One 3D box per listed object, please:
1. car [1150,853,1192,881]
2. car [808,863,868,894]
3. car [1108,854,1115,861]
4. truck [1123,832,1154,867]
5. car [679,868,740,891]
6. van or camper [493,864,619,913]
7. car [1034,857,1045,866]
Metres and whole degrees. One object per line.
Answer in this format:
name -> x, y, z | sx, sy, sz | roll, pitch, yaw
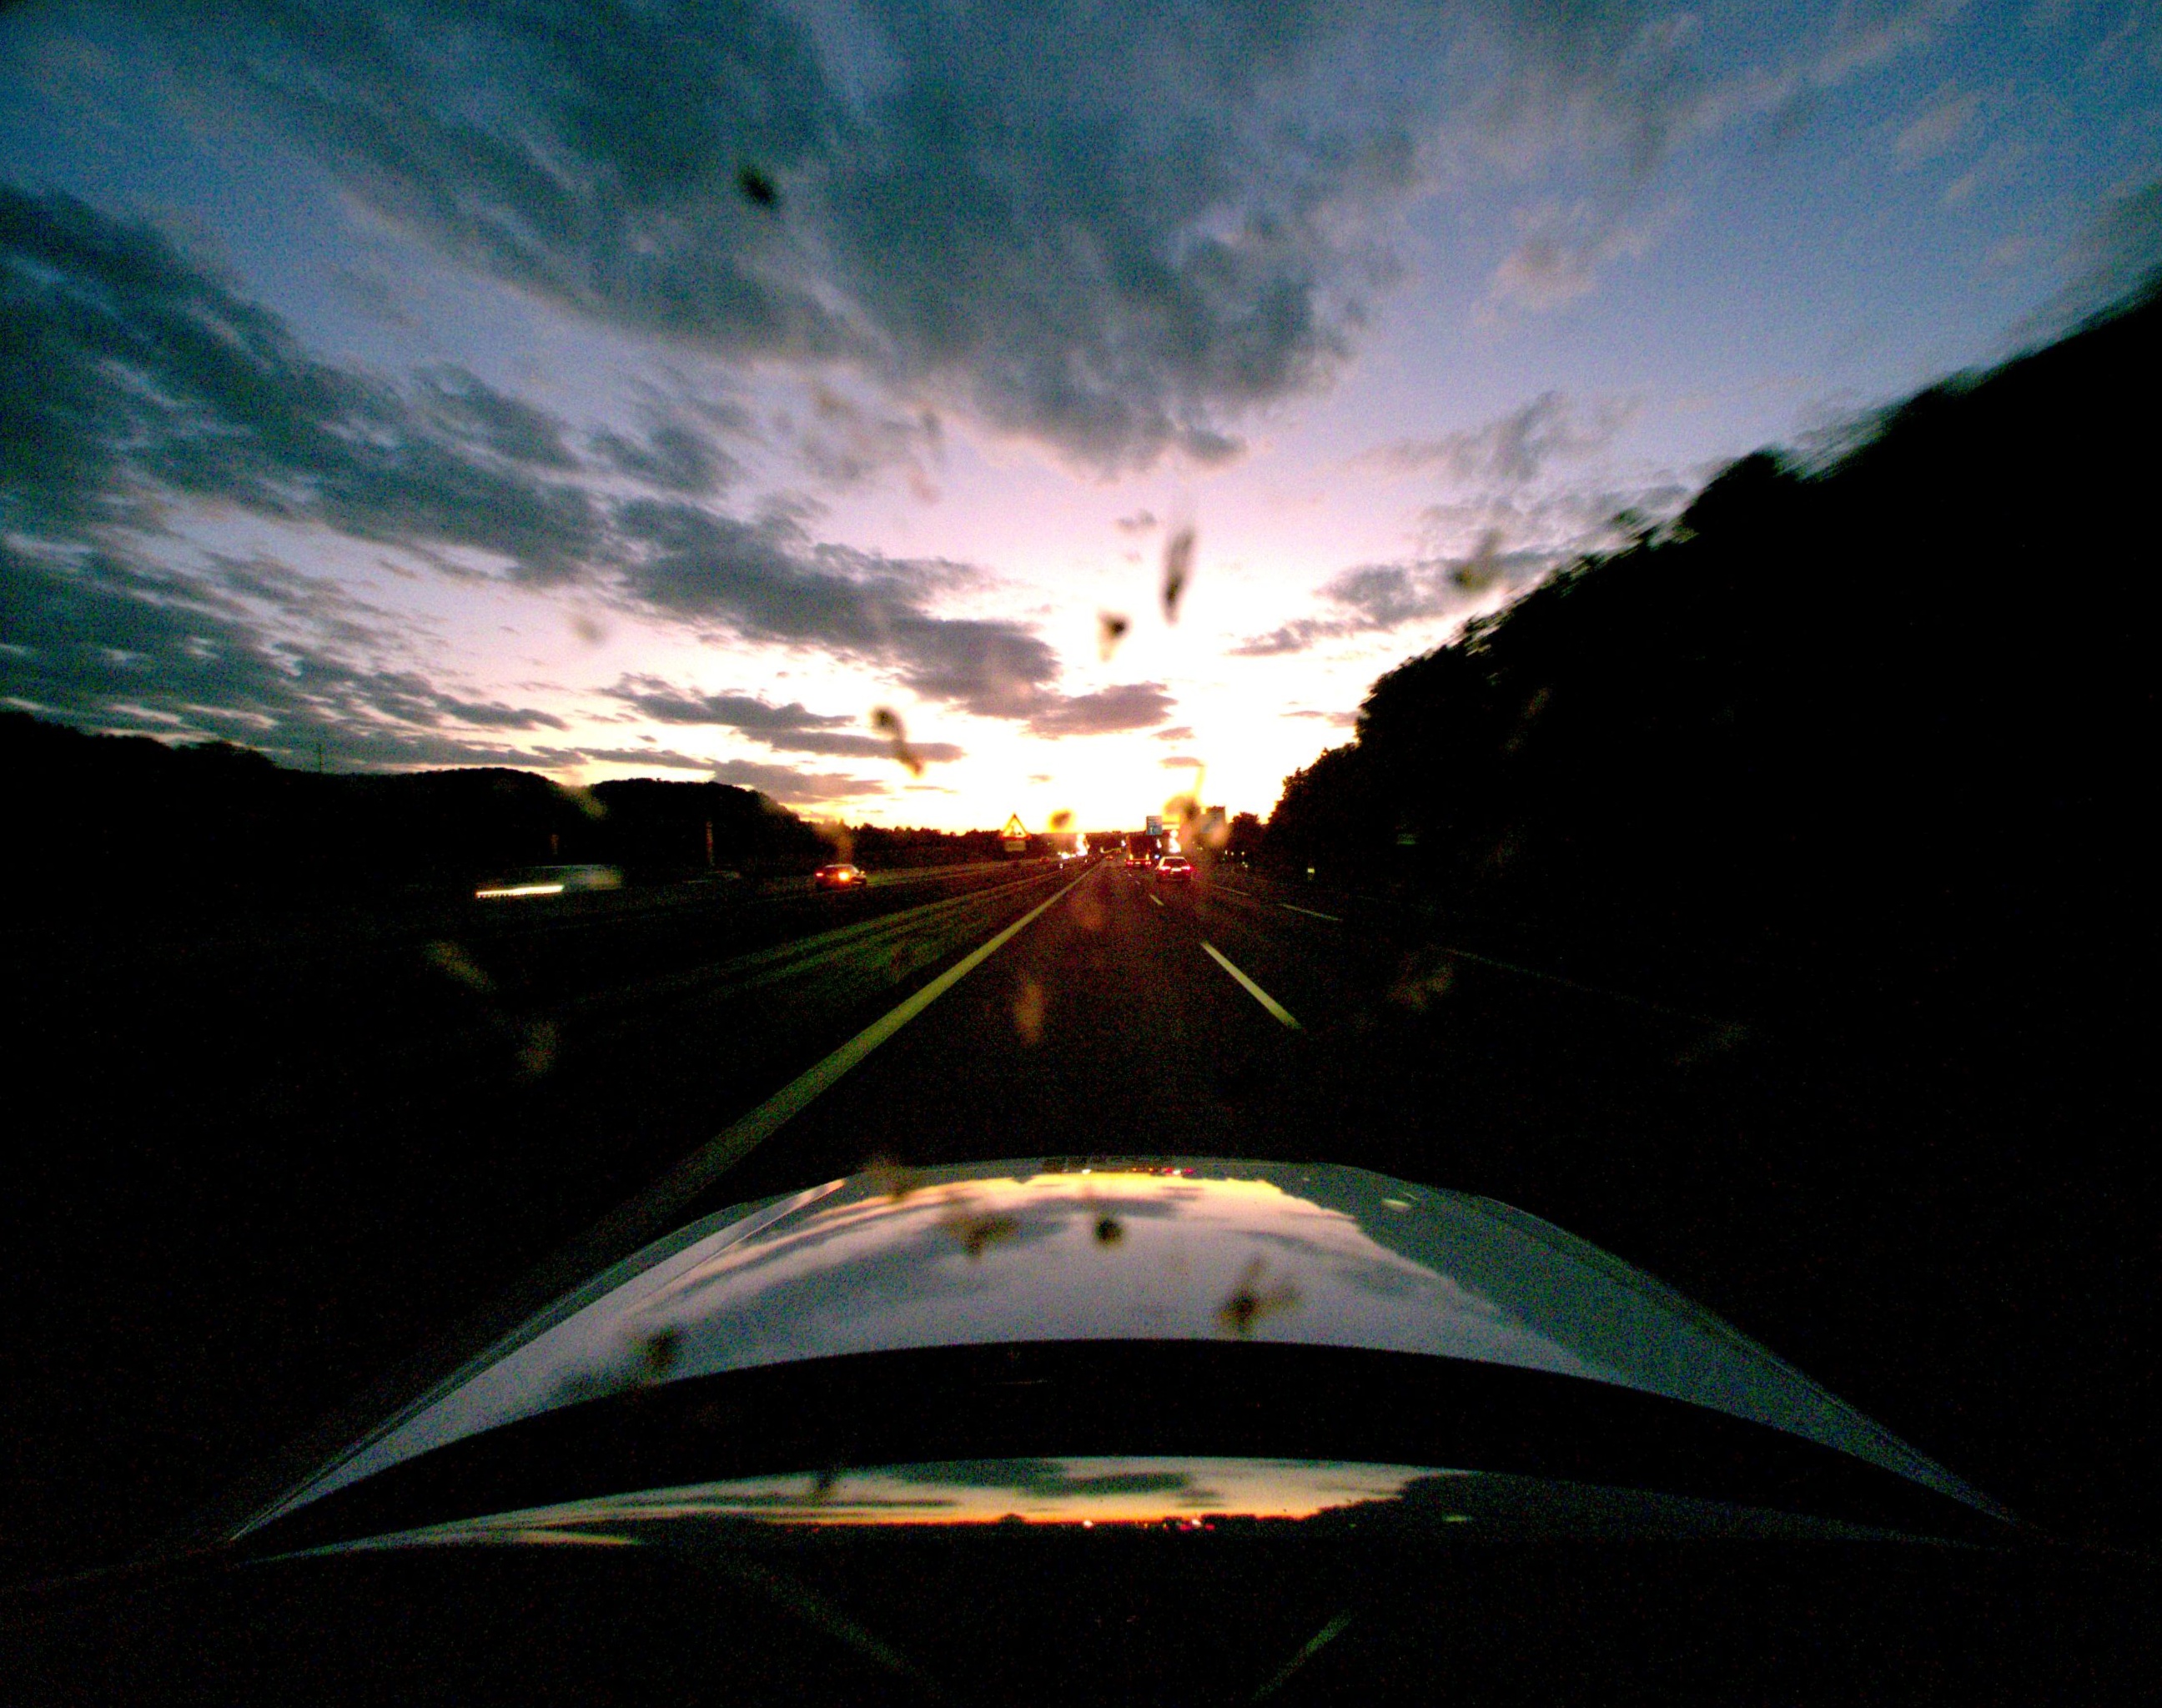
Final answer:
car -> 5.065, 0.736, 46.387 | 1.908, 1.442, 4.000 | -3, 0, 1
car -> -13.719, 1.346, 46.310 | 1.865, 1.561, 4.521 | -3, 0, 2
car -> 9.413, 1.016, 251.668 | 1.986, 2.013, 4.002 | -3, -1, 2
truck -> 7.558, -0.494, 108.479 | 3.497, 4.301, 9.894 | -3, -1, 2
car -> -23.562, 1.591, 51.832 | 1.745, 1.250, 4.214 | -3, 0, 2
van or camper -> -22.945, 1.441, 35.902 | 1.884, 1.907, 5.540 | -1, 0, 0
car -> -7.750, 1.490, 153.537 | 1.706, 1.605, 3.723 | -3, -1, 2
